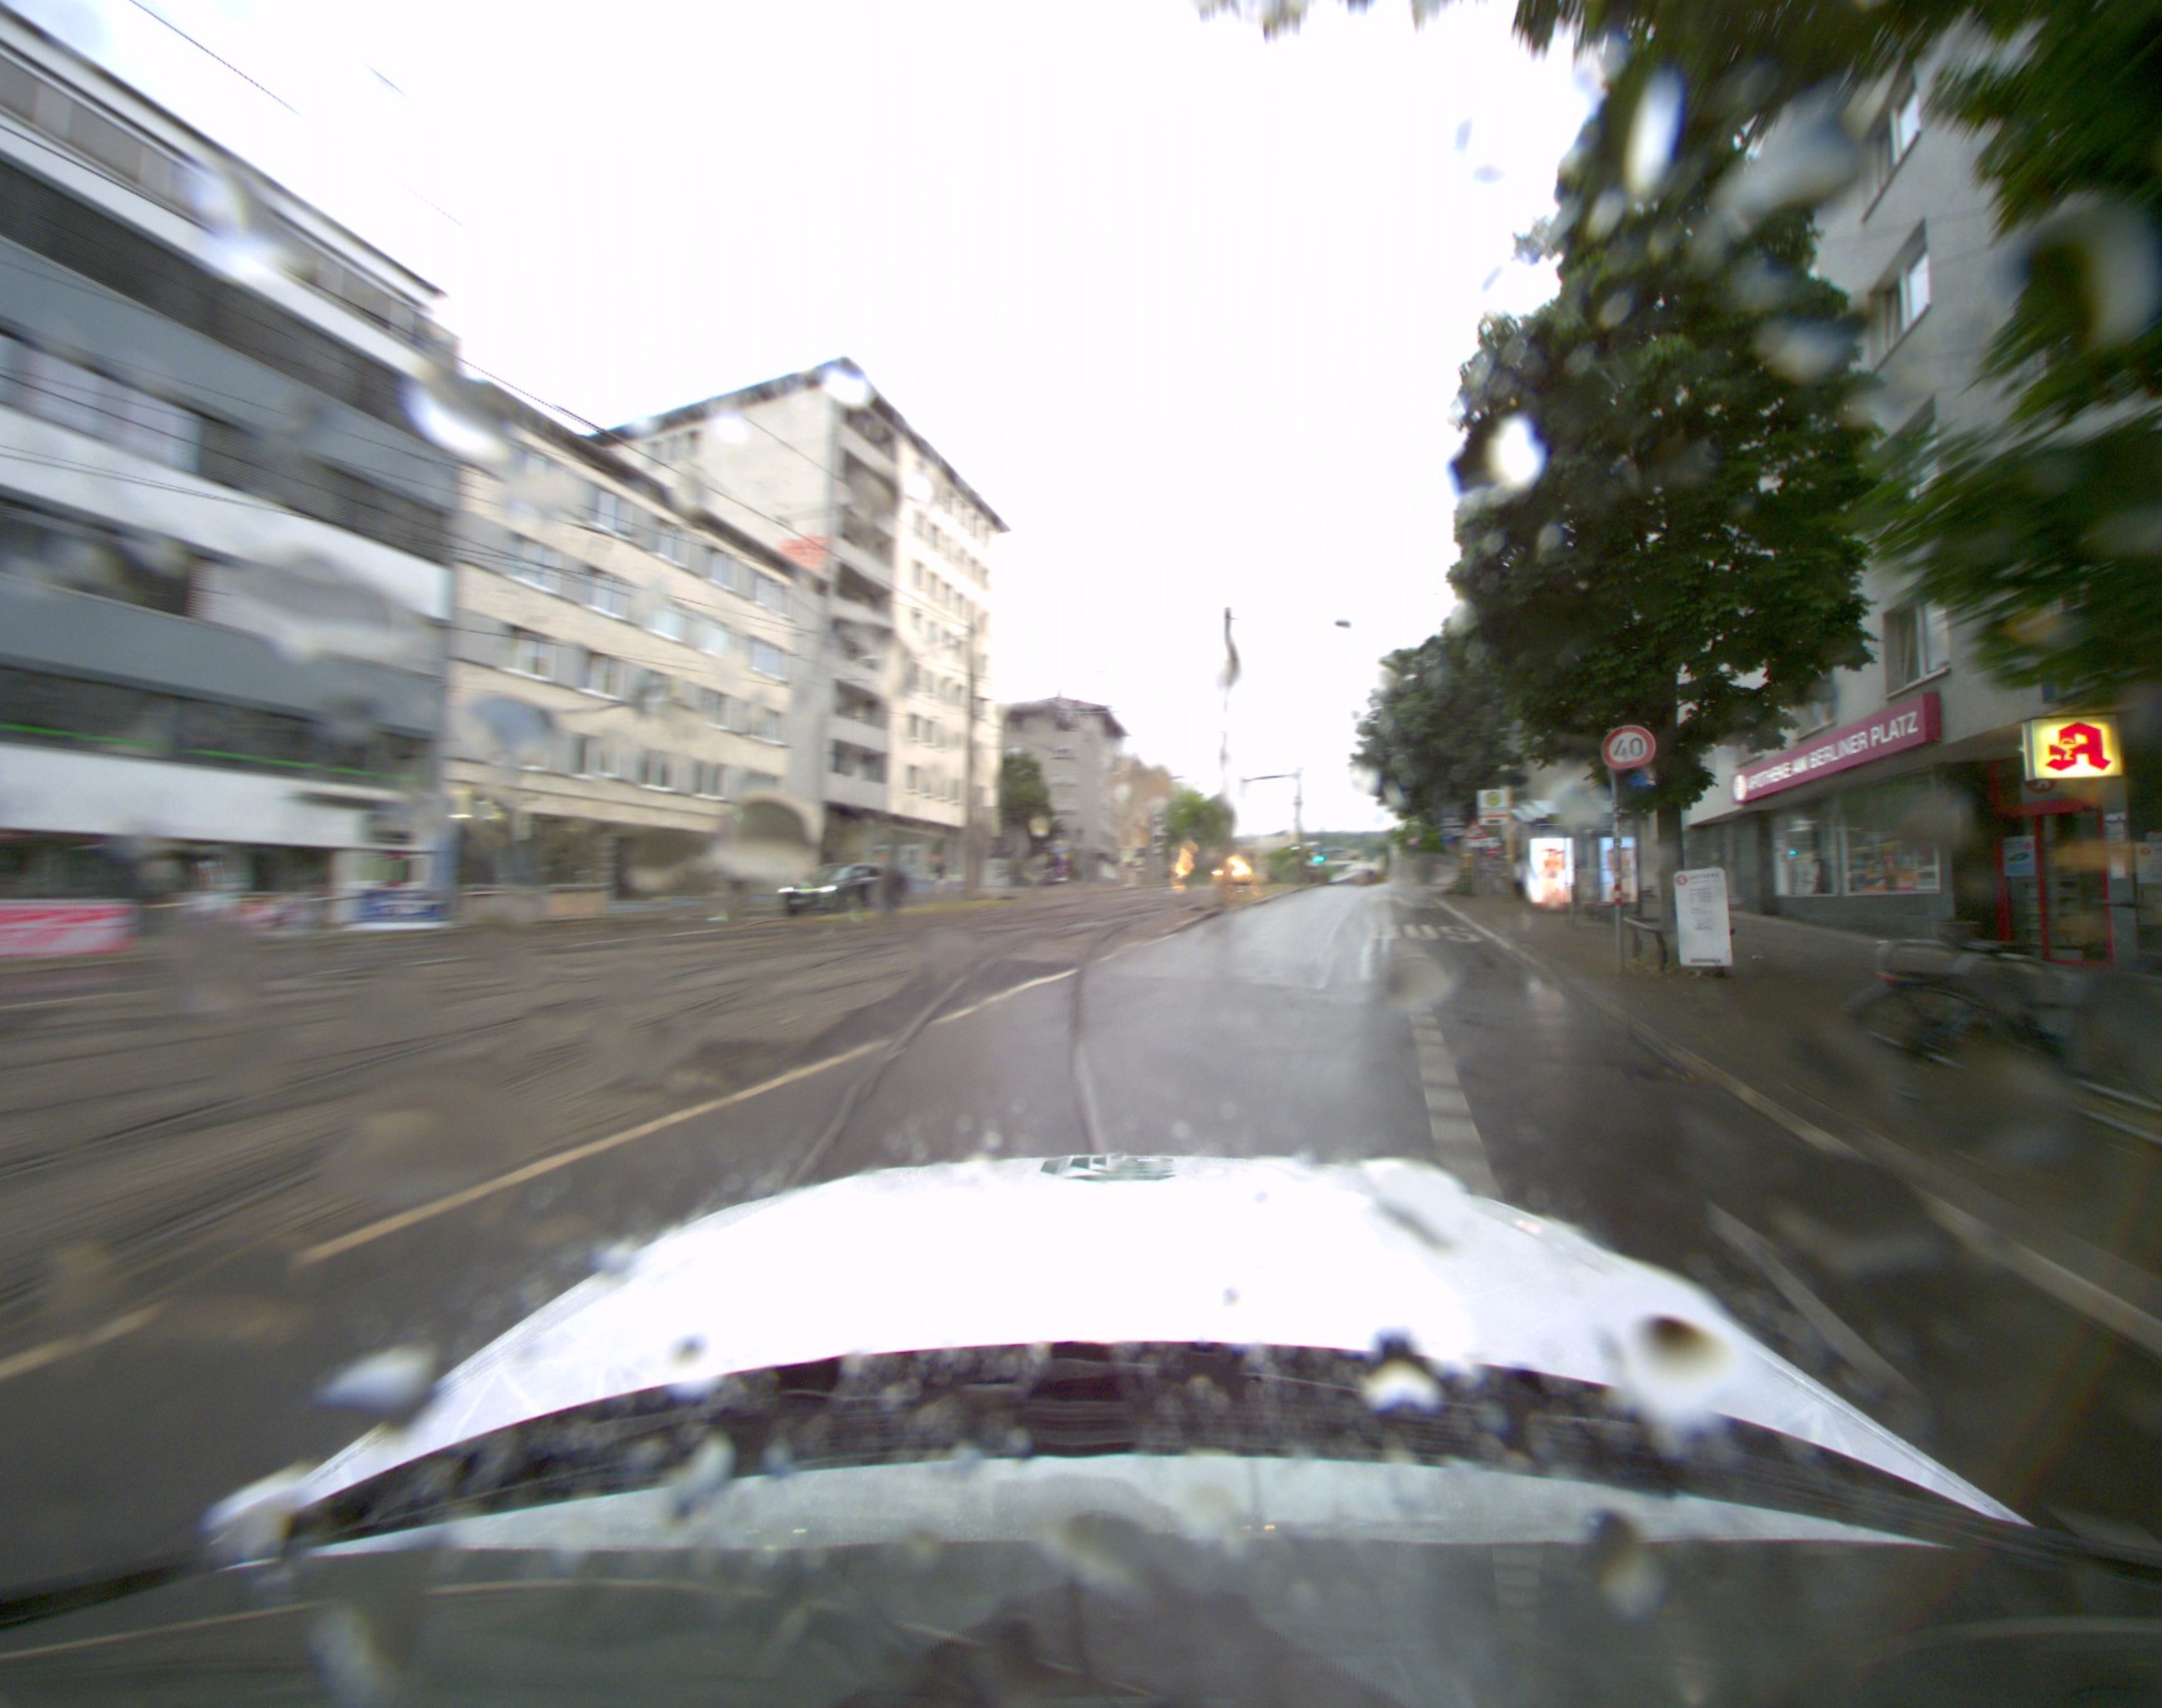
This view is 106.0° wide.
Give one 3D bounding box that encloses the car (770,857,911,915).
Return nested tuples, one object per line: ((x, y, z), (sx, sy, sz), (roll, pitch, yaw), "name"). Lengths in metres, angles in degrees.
((-7.530, 0.966, 26.013), (1.977, 1.673, 4.550), (-1, -1, 20), "car")

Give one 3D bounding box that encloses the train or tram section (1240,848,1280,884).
((21.200, 1.596, 95.408), (2.724, 3.697, 19.055), (0, -2, 18), "train or tram section")

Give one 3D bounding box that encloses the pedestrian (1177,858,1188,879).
((8.785, 1.268, 70.438), (0.726, 1.791, 0.700), (-1, -1, 18), "pedestrian")

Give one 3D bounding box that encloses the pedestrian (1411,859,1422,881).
((28.117, 1.316, 68.246), (0.694, 1.816, 0.981), (-1, -1, 17), "pedestrian")

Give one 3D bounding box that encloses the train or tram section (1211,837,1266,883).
((15.221, 0.839, 77.260), (2.724, 3.697, 19.055), (0, -2, 18), "train or tram section")

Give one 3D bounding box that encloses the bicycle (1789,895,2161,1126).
((5.570, 0.826, 4.571), (2.295, 1.174, 0.653), (-1, -3, 23), "bicycle")

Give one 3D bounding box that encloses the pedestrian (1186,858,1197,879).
((9.538, 1.257, 70.205), (0.726, 1.791, 0.700), (-1, -1, 18), "pedestrian")

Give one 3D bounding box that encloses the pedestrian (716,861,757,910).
((-12.045, 1.078, 28.485), (0.879, 1.681, 1.005), (-2, -2, 34), "pedestrian")

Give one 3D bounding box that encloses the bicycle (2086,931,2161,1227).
((4.932, 0.858, 2.768), (1.800, 1.092, 0.653), (-1, 0, 23), "bicycle")

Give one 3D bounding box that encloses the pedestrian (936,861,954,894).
((-7.172, 1.242, 43.028), (0.592, 1.738, 0.914), (-1, -1, 18), "pedestrian")

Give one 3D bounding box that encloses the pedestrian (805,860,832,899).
((-11.524, 1.101, 35.735), (0.673, 1.681, 1.003), (-1, -1, 18), "pedestrian")

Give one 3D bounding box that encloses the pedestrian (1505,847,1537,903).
((13.086, 0.630, 24.245), (0.659, 1.626, 0.972), (-1, -1, 19), "pedestrian")

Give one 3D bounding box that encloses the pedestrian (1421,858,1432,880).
((28.910, 1.254, 68.112), (0.694, 1.785, 1.071), (-1, -1, 17), "pedestrian")
